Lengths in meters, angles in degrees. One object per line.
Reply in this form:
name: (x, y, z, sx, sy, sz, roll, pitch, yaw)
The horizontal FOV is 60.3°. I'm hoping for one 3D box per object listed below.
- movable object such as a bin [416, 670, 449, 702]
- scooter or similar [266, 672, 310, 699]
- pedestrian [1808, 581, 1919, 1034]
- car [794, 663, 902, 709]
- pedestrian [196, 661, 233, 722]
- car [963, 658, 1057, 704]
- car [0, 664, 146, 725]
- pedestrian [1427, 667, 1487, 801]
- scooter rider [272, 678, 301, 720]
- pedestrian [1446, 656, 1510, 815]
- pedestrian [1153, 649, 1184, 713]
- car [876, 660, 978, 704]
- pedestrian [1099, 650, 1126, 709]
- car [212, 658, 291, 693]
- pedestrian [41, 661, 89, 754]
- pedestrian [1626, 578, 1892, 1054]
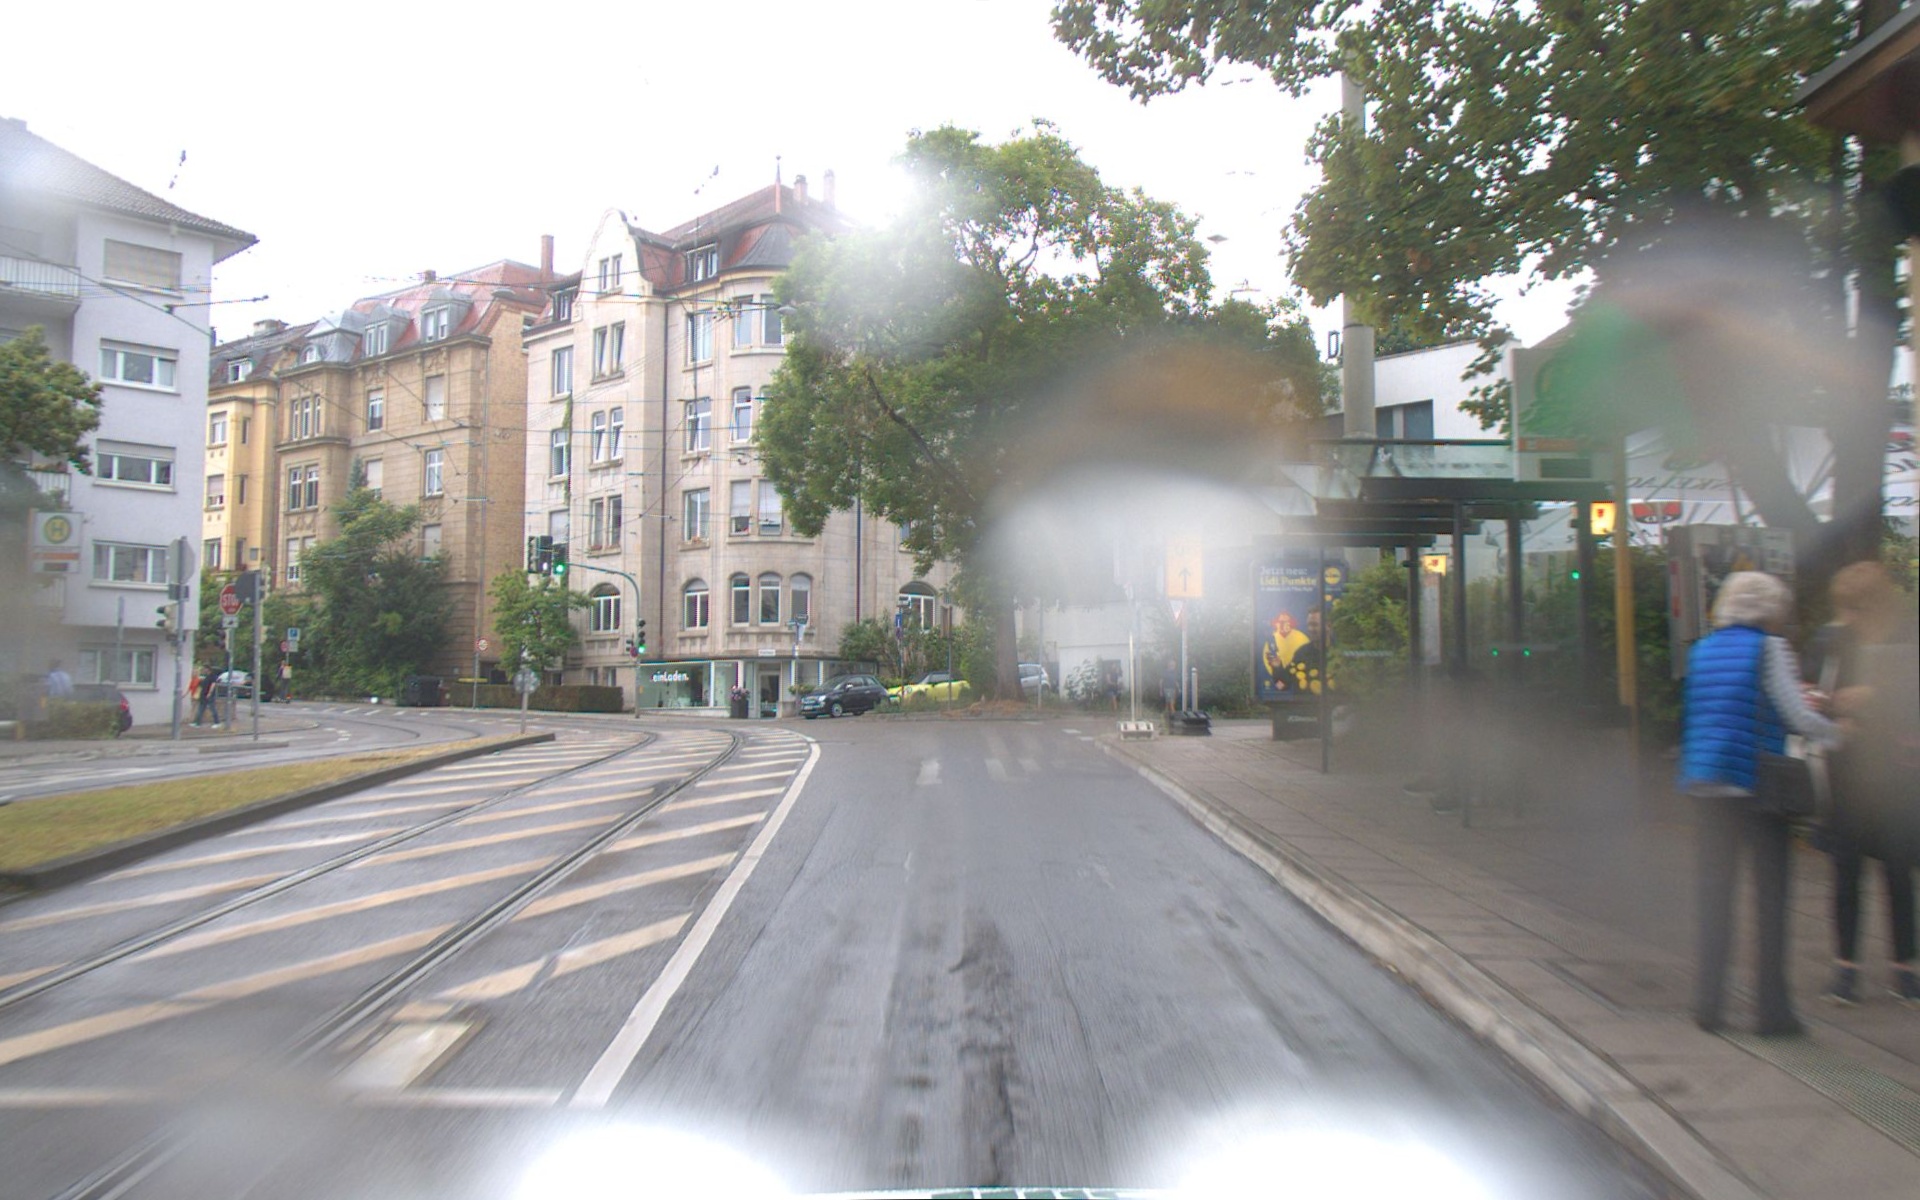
movable object such as a bin: (-24.659, 3.998, 77.359, 0.805, 1.427, 1.226, 1, -1, 31)
scooter or similar: (-29.373, 3.720, 72.278, 1.963, 1.068, 0.514, 1, -6, 27)
pedestrian: (3.562, 0.720, 6.085, 0.534, 1.581, 0.558, -2, -1, -3)
car: (-4.038, 3.094, 59.846, 3.640, 1.534, 1.710, 0, -2, -43)
pedestrian: (-21.553, 2.642, 47.823, 0.662, 1.729, 0.740, 1, -1, 44)
car: (1.998, 3.218, 65.724, 1.595, 1.534, 3.750, -7, -3, 43)
car: (-24.011, 2.486, 43.560, 1.825, 1.480, 4.222, 1, -2, 44)
pedestrian: (3.920, 1.050, 13.059, 0.318, 1.012, 0.317, -2, -1, -5)
scooter rider: (-29.383, 4.321, 72.158, 0.825, 1.736, 0.624, 1, -6, 26)
pedestrian: (3.945, 1.027, 12.612, 0.318, 1.170, 0.317, -2, -1, -5)
pedestrian: (5.567, 2.156, 44.117, 0.539, 1.658, 0.594, 2, -1, -34)
car: (-1.241, 3.085, 62.803, 3.640, 1.534, 1.710, 0, -2, -43)
pedestrian: (4.184, 2.180, 45.390, 0.589, 1.593, 0.544, 2, -1, -11)
car: (-34.180, 3.651, 79.720, 3.923, 1.415, 1.763, 1, -4, 38)
pedestrian: (-16.842, 2.009, 31.138, 0.557, 1.714, 0.774, -1, -3, -8)
pedestrian: (2.822, 0.729, 5.899, 0.576, 1.581, 0.649, -2, -1, -1)
